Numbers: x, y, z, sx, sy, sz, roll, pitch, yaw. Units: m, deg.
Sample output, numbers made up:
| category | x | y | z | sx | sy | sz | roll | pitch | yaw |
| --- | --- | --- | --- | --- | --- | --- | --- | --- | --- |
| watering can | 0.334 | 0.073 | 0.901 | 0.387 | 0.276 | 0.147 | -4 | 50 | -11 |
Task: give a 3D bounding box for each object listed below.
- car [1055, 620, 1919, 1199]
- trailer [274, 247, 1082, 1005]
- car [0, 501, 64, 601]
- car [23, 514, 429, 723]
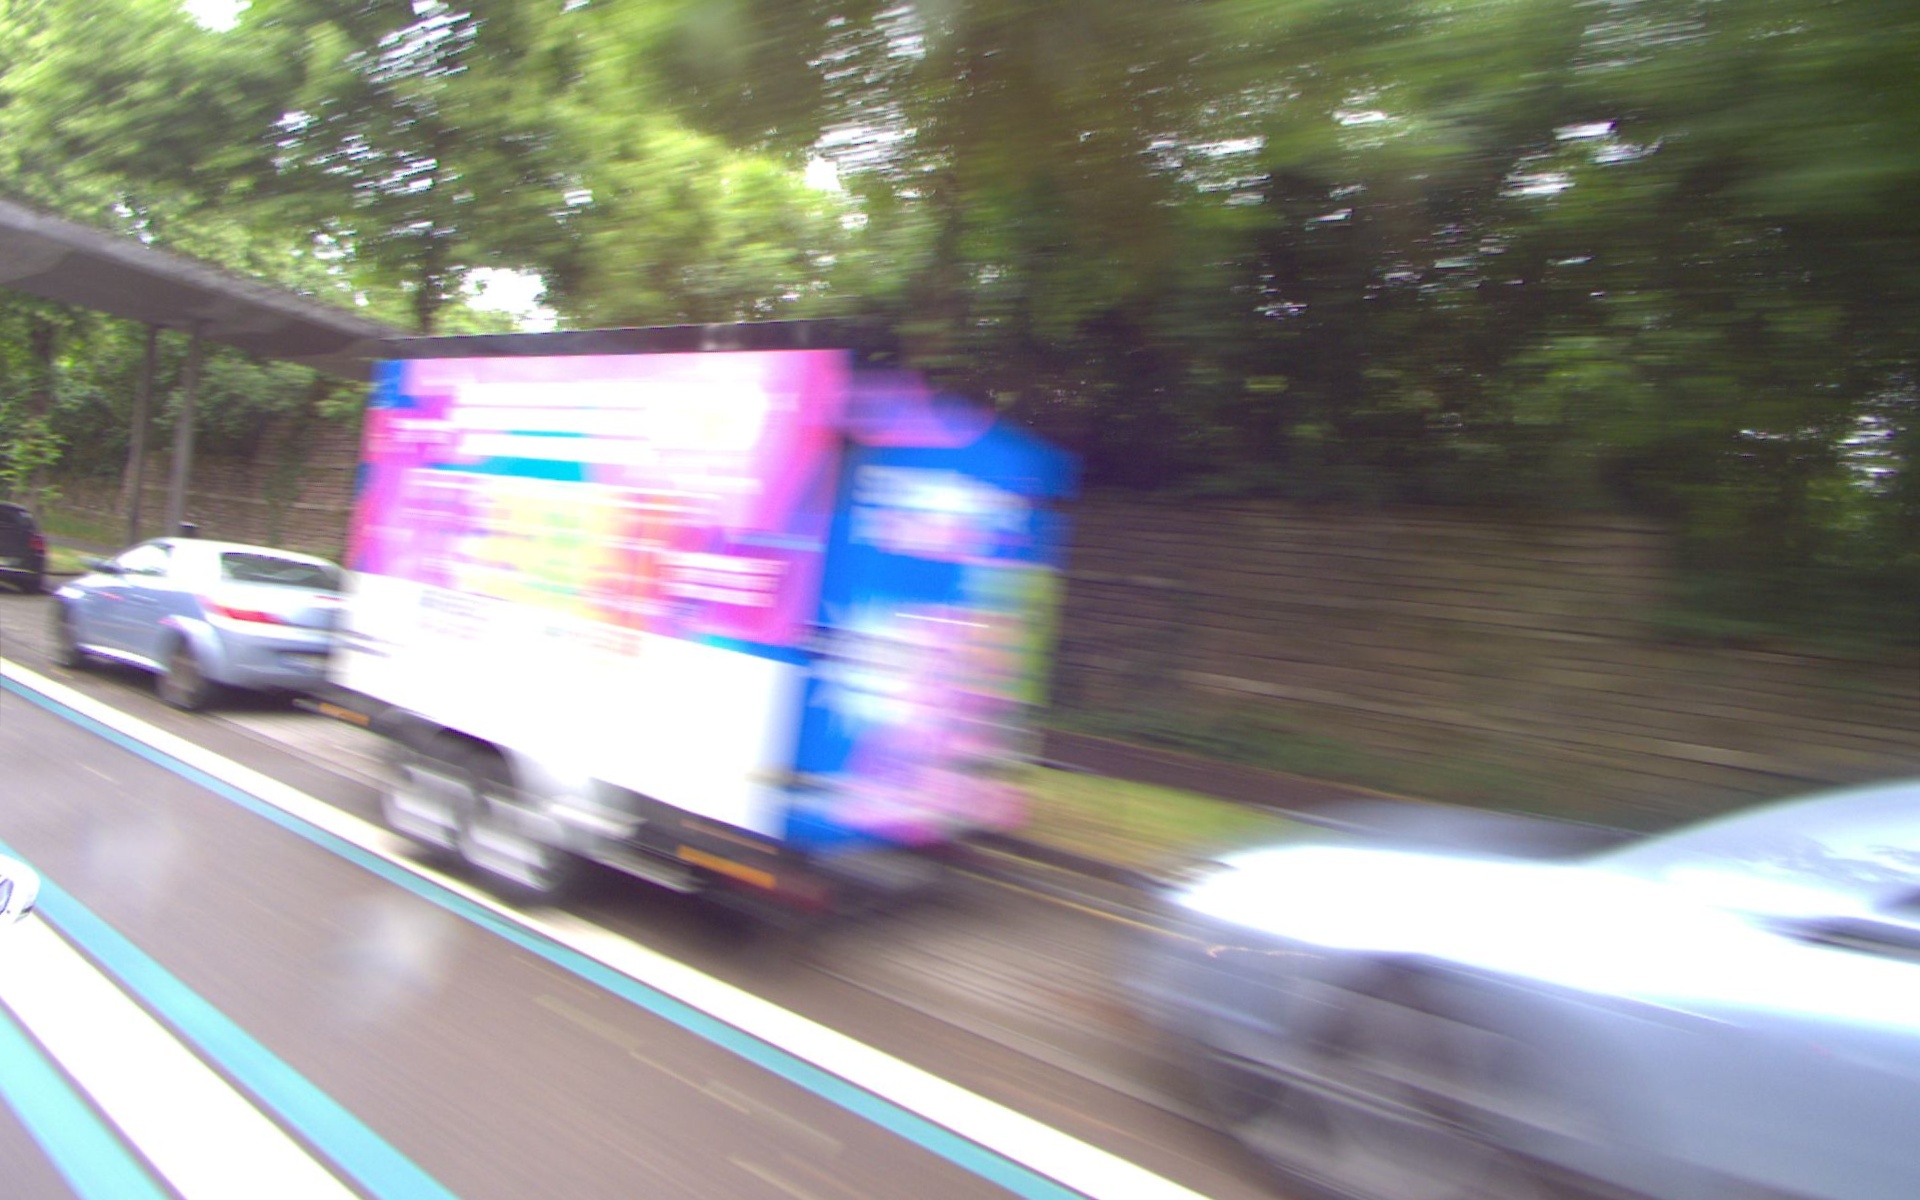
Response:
| category | x | y | z | sx | sy | sz | roll | pitch | yaw |
| --- | --- | --- | --- | --- | --- | --- | --- | --- | --- |
| car | 2.858 | 1.164 | 2.802 | 4.676 | 1.566 | 1.903 | 7 | -1 | 31 |
| trailer | -1.682 | -0.004 | 5.592 | 3.942 | 2.791 | 1.955 | 7 | -1 | 34 |
| car | -16.266 | -0.967 | 16.180 | 4.129 | 1.434 | 1.687 | 7 | 0 | 33 |
| car | -6.843 | 0.138 | 9.301 | 3.798 | 1.368 | 1.588 | 7 | -2 | 31 |
